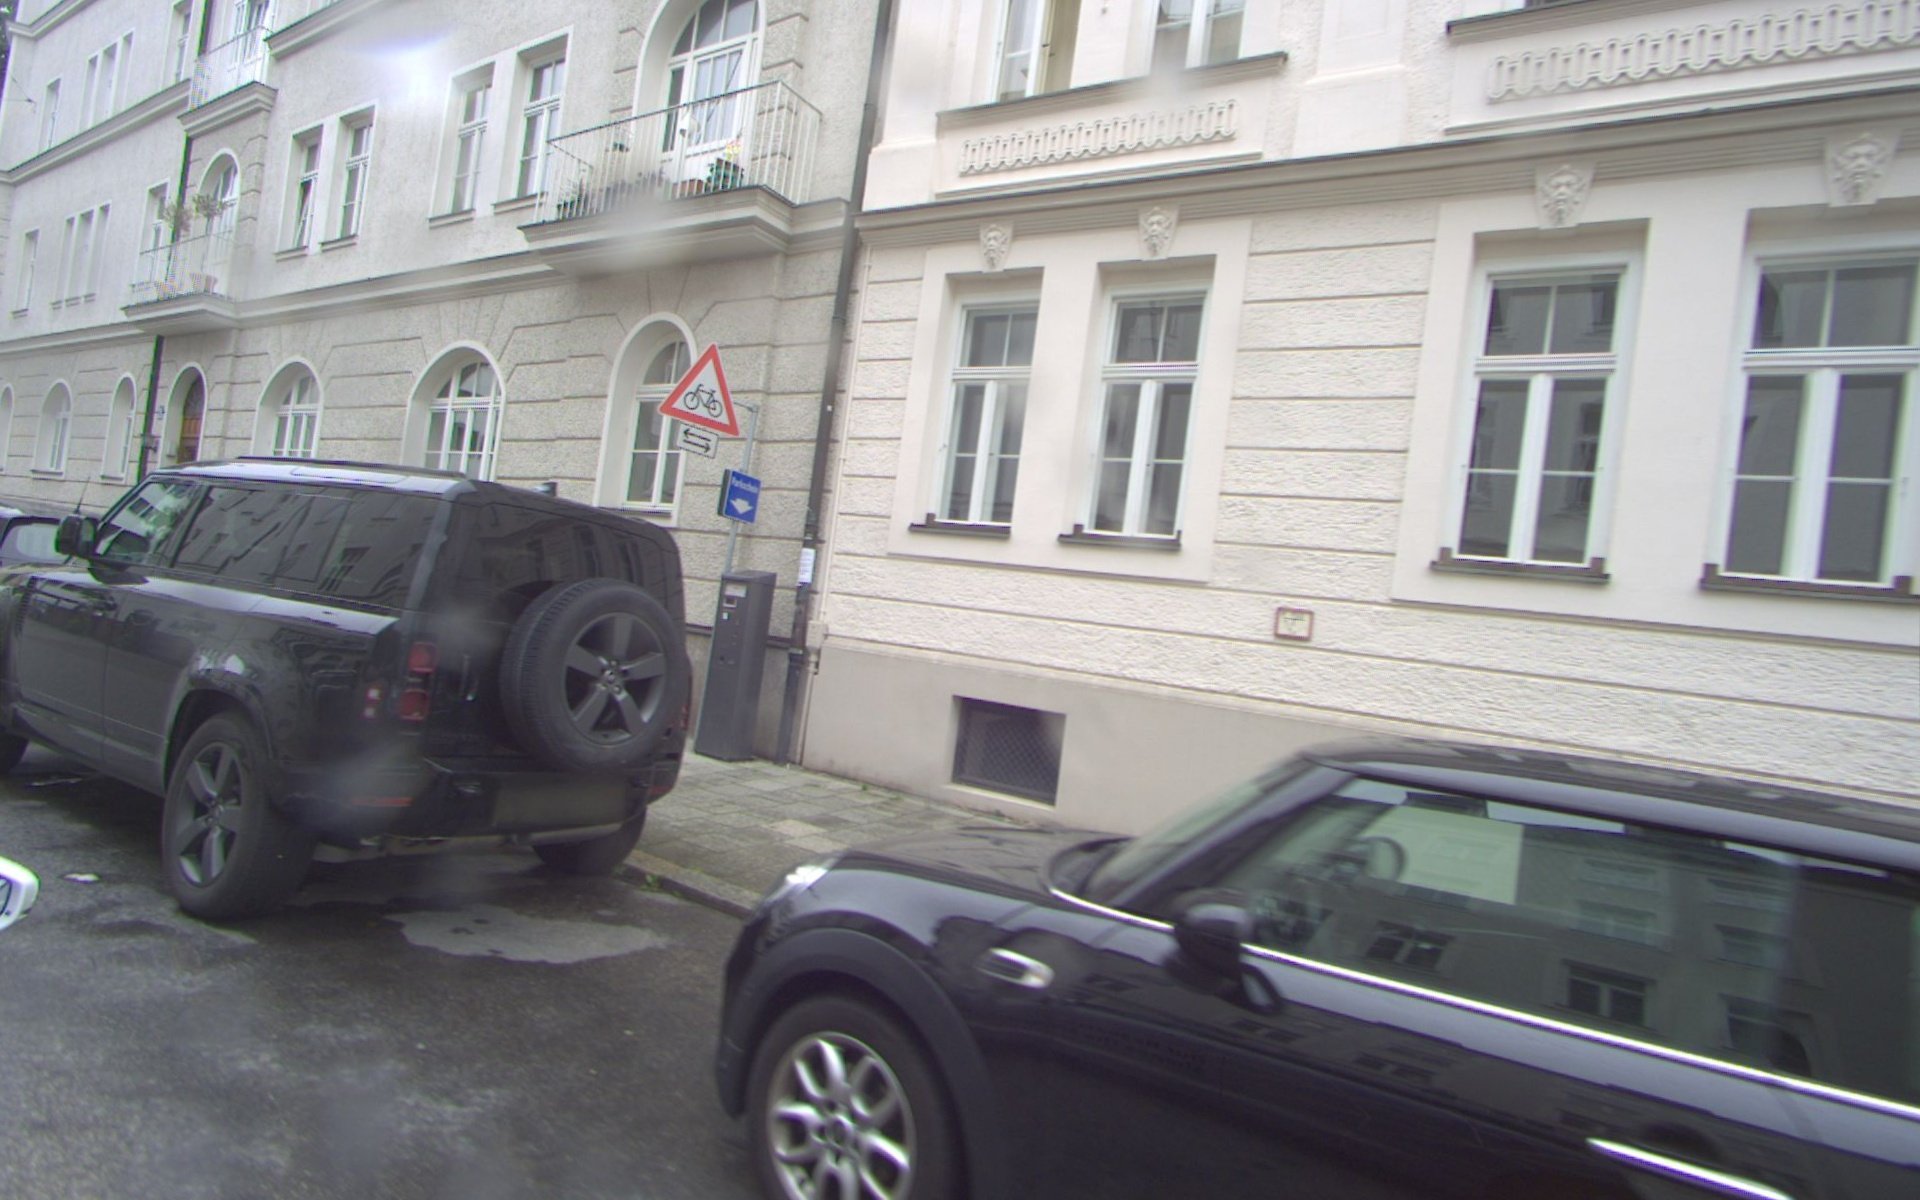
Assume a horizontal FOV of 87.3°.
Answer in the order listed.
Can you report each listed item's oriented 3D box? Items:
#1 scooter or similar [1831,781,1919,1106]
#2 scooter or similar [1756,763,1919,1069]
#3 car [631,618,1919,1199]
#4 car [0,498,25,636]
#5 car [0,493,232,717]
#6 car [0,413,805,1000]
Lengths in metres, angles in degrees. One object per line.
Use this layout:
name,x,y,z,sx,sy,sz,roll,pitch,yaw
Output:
scooter or similar,4.667,1.556,4.150,1.481,1.304,0.539,7,1,39
scooter or similar,4.772,1.572,4.855,1.332,1.304,0.506,7,1,40
car,1.123,1.026,2.435,3.524,1.410,1.668,7,-4,33
car,-12.478,-0.636,11.472,4.134,1.488,1.708,7,-2,35
car,-7.948,-0.098,8.395,3.576,1.542,1.659,7,-2,32
car,-3.344,0.244,5.299,4.635,1.905,1.917,7,-4,31
